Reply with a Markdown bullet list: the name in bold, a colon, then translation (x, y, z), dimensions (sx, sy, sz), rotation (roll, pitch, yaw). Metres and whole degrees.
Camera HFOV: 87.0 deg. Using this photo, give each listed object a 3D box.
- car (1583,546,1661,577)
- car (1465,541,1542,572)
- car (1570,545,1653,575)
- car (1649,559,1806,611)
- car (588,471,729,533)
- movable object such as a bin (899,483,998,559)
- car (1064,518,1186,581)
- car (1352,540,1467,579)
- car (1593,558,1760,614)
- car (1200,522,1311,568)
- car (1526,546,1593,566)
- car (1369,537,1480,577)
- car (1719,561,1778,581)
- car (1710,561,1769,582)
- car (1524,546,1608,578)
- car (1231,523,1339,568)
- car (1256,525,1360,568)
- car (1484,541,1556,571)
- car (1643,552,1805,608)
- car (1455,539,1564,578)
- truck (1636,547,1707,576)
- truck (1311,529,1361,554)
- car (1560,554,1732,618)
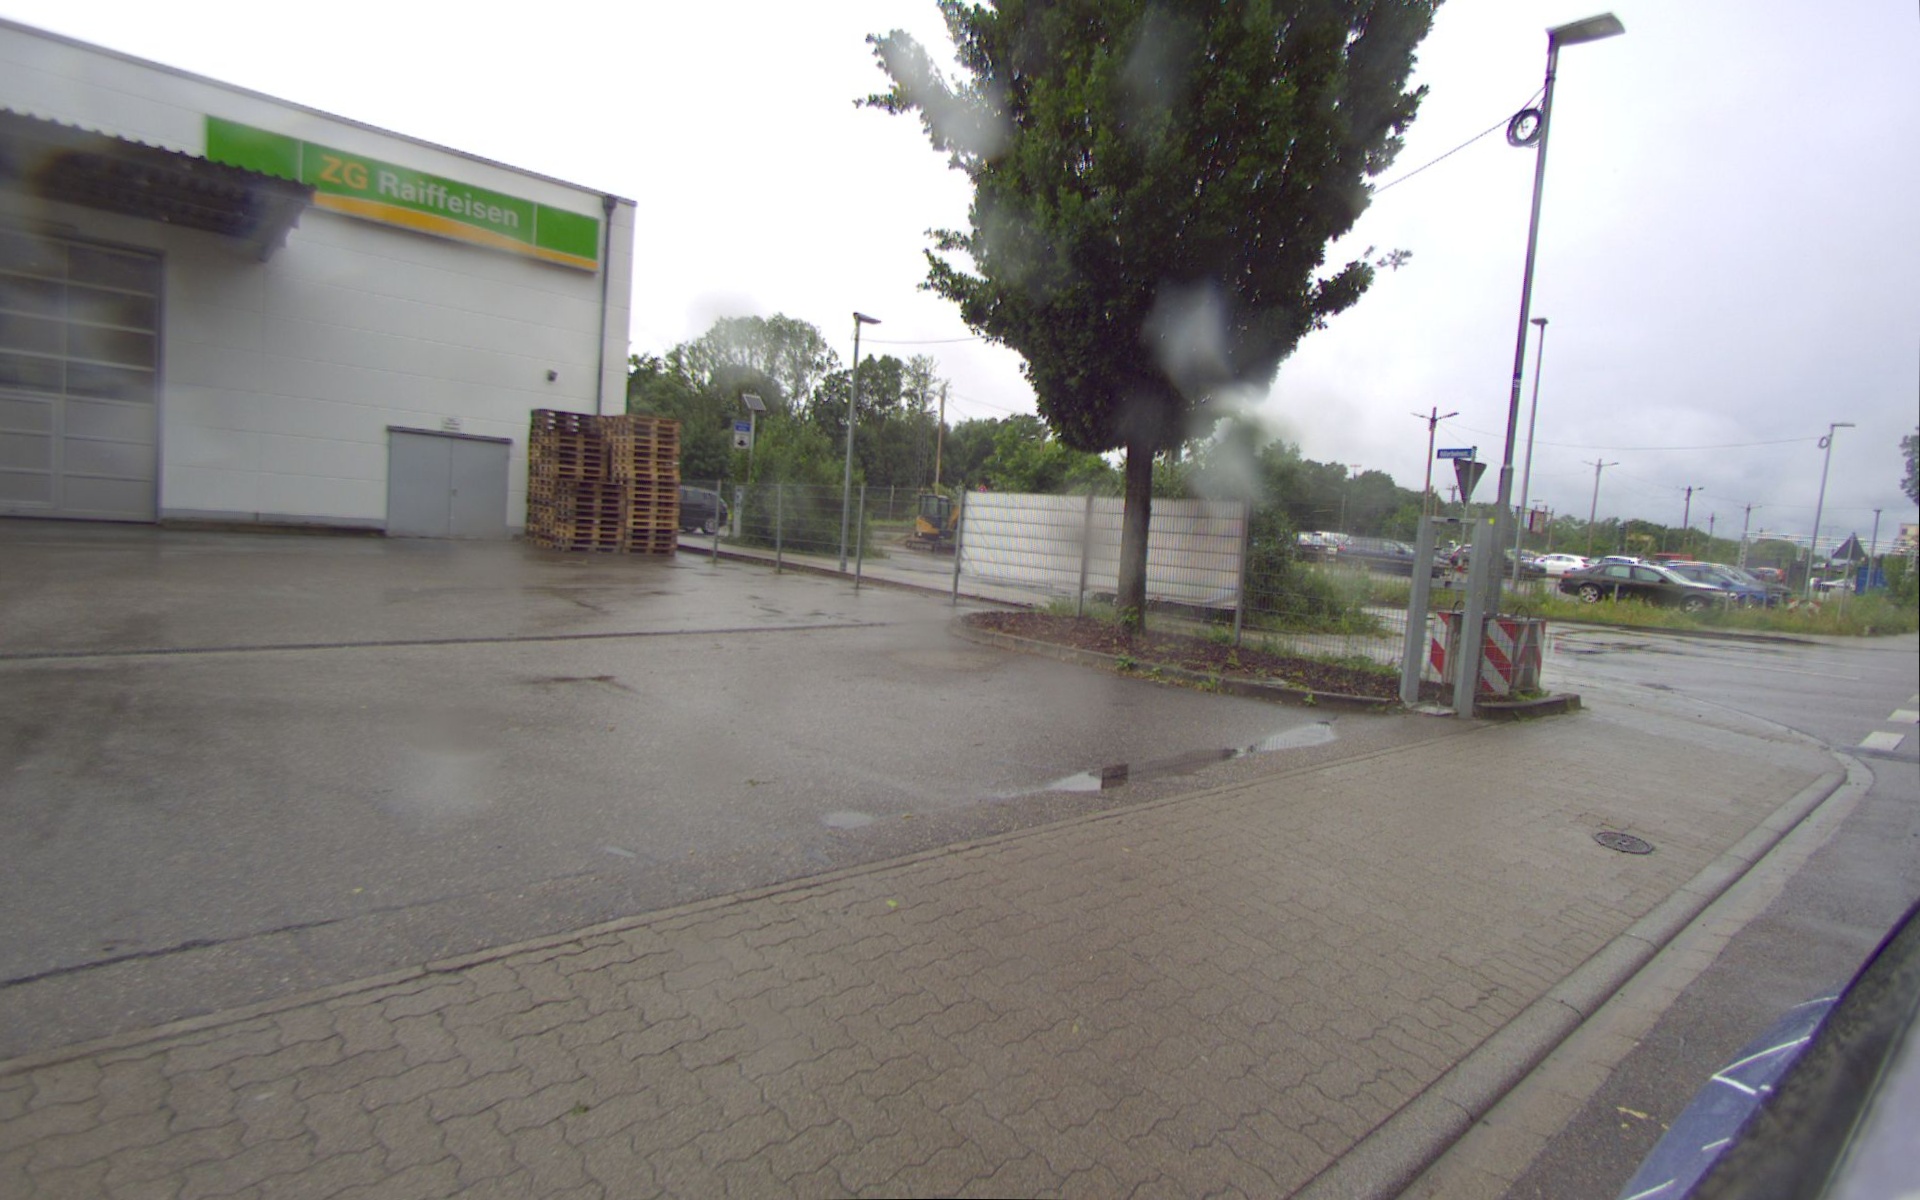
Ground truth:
- **car**: translation (44.815, -2.627, 68.542), dimensions (1.754, 1.601, 3.918), rotation (-2, 9, -39)
- **car**: translation (36.725, -2.990, 68.501), dimensions (1.894, 1.623, 4.073), rotation (-2, 9, -41)
- **car**: translation (42.734, -2.638, 66.448), dimensions (1.893, 1.500, 4.061), rotation (-2, 9, -39)
- **car**: translation (28.445, -0.607, 37.609), dimensions (1.788, 1.534, 4.306), rotation (-2, 6, -41)
- **car**: translation (-10.409, -3.375, 35.114), dimensions (1.786, 1.844, 4.313), rotation (9, 8, 44)
- **movable object such as a bin**: translation (-0.545, -3.467, 43.874), dimensions (1.966, 3.027, 3.996), rotation (0, 5, -42)
- **car**: translation (5.896, -1.843, 36.466), dimensions (1.800, 1.944, 3.995), rotation (0, 5, -43)
- **car**: translation (19.099, -1.757, 43.128), dimensions (1.965, 1.425, 3.997), rotation (-2, 6, -41)
- **car**: translation (23.960, -0.532, 33.981), dimensions (1.858, 1.527, 4.192), rotation (-2, 6, -41)
- **car**: translation (13.689, -2.599, 47.105), dimensions (2.011, 1.690, 4.450), rotation (-3, 10, -44)
- **car**: translation (46.524, -3.455, 78.589), dimensions (1.802, 1.083, 4.070), rotation (-3, 10, -43)
- **car**: translation (20.592, -1.954, 44.966), dimensions (1.965, 1.502, 3.997), rotation (-2, 6, -41)
- **car**: translation (74.588, -2.803, 95.771), dimensions (1.854, 1.443, 3.966), rotation (-2, 9, -39)
- **car**: translation (72.244, -2.678, 93.832), dimensions (1.854, 1.443, 3.966), rotation (-2, 9, -39)
- **car**: translation (36.784, -2.345, 61.527), dimensions (1.893, 1.500, 3.844), rotation (-2, 9, -39)
- **car**: translation (15.612, -2.653, 48.814), dimensions (2.011, 1.690, 4.450), rotation (-3, 10, -44)
- **car**: translation (17.520, -2.748, 51.082), dimensions (2.009, 1.690, 4.453), rotation (-2, 10, -42)
- **car**: translation (40.332, -3.189, 72.952), dimensions (1.802, 1.677, 4.070), rotation (-3, 10, -43)
- **car**: translation (30.697, -0.872, 40.797), dimensions (2.089, 1.754, 4.699), rotation (-1, 8, -37)
- **car**: translation (28.780, -2.195, 53.062), dimensions (4.621, 1.736, 1.989), rotation (7, 7, 43)
- **truck**: translation (70.474, -3.869, 100.297), dimensions (2.116, 2.395, 5.302), rotation (-1, 7, -42)
- **truck**: translation (35.976, -5.620, 96.685), dimensions (5.187, 2.036, 2.087), rotation (0, 6, -41)
- **car**: translation (21.651, -0.520, 32.042), dimensions (4.217, 1.415, 1.864), rotation (11, 9, 40)
